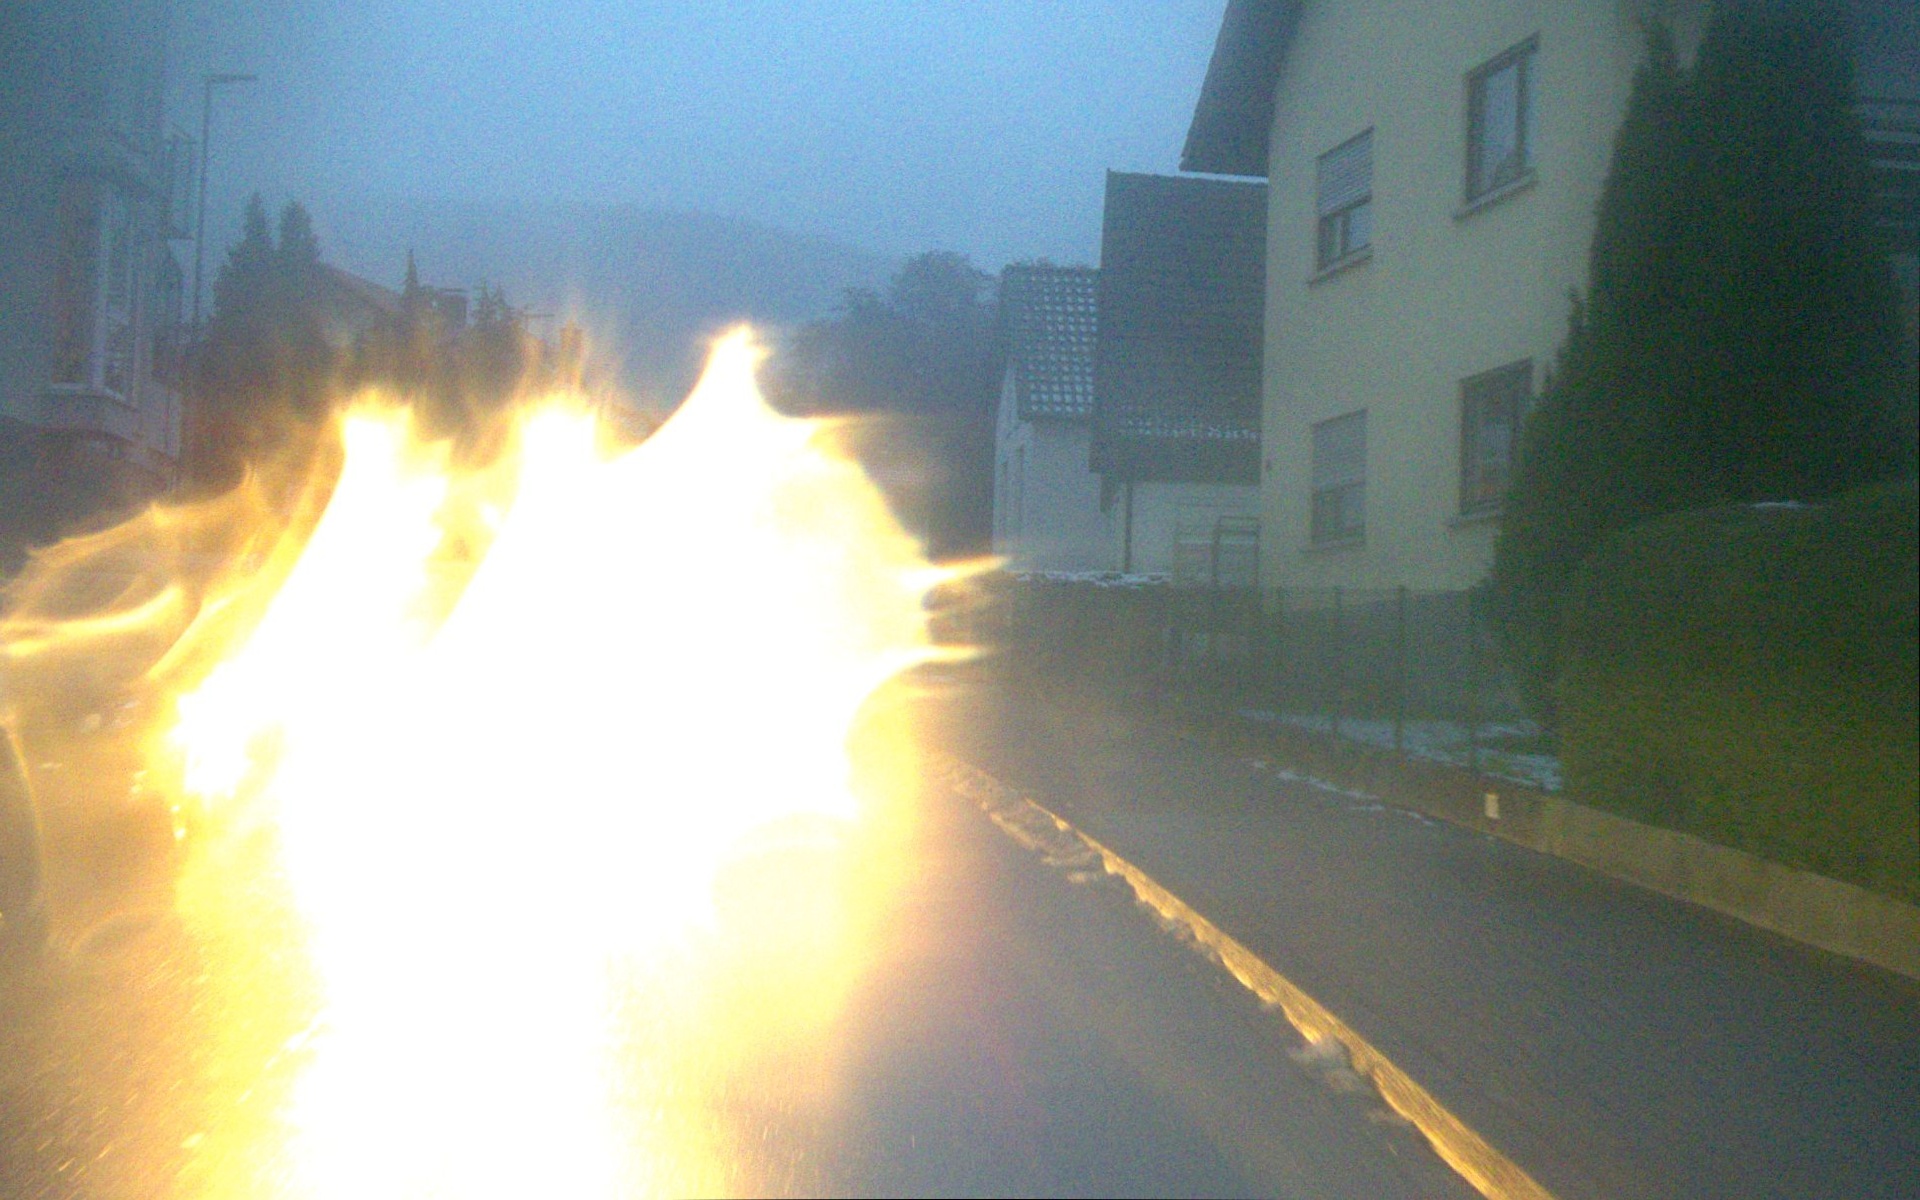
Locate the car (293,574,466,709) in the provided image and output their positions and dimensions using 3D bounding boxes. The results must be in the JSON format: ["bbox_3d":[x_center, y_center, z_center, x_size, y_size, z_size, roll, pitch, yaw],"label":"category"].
[{"bbox_3d":[-6.746,0.460,40.236,1.664,1.413,3.691,3,0,-6],"label":"car"}]

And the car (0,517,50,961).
[{"bbox_3d":[-4.342,0.511,11.153,1.917,1.618,4.423,1,1,-5],"label":"car"}]

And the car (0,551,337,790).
[{"bbox_3d":[-5.310,0.413,23.424,1.733,1.439,4.440,1,0,-6],"label":"car"}]

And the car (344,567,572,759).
[{"bbox_3d":[-4.326,0.483,29.397,1.773,1.490,4.381,1,1,-9],"label":"car"}]

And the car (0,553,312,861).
[{"bbox_3d":[-4.499,0.474,18.032,1.733,1.431,4.035,1,1,-5],"label":"car"}]
